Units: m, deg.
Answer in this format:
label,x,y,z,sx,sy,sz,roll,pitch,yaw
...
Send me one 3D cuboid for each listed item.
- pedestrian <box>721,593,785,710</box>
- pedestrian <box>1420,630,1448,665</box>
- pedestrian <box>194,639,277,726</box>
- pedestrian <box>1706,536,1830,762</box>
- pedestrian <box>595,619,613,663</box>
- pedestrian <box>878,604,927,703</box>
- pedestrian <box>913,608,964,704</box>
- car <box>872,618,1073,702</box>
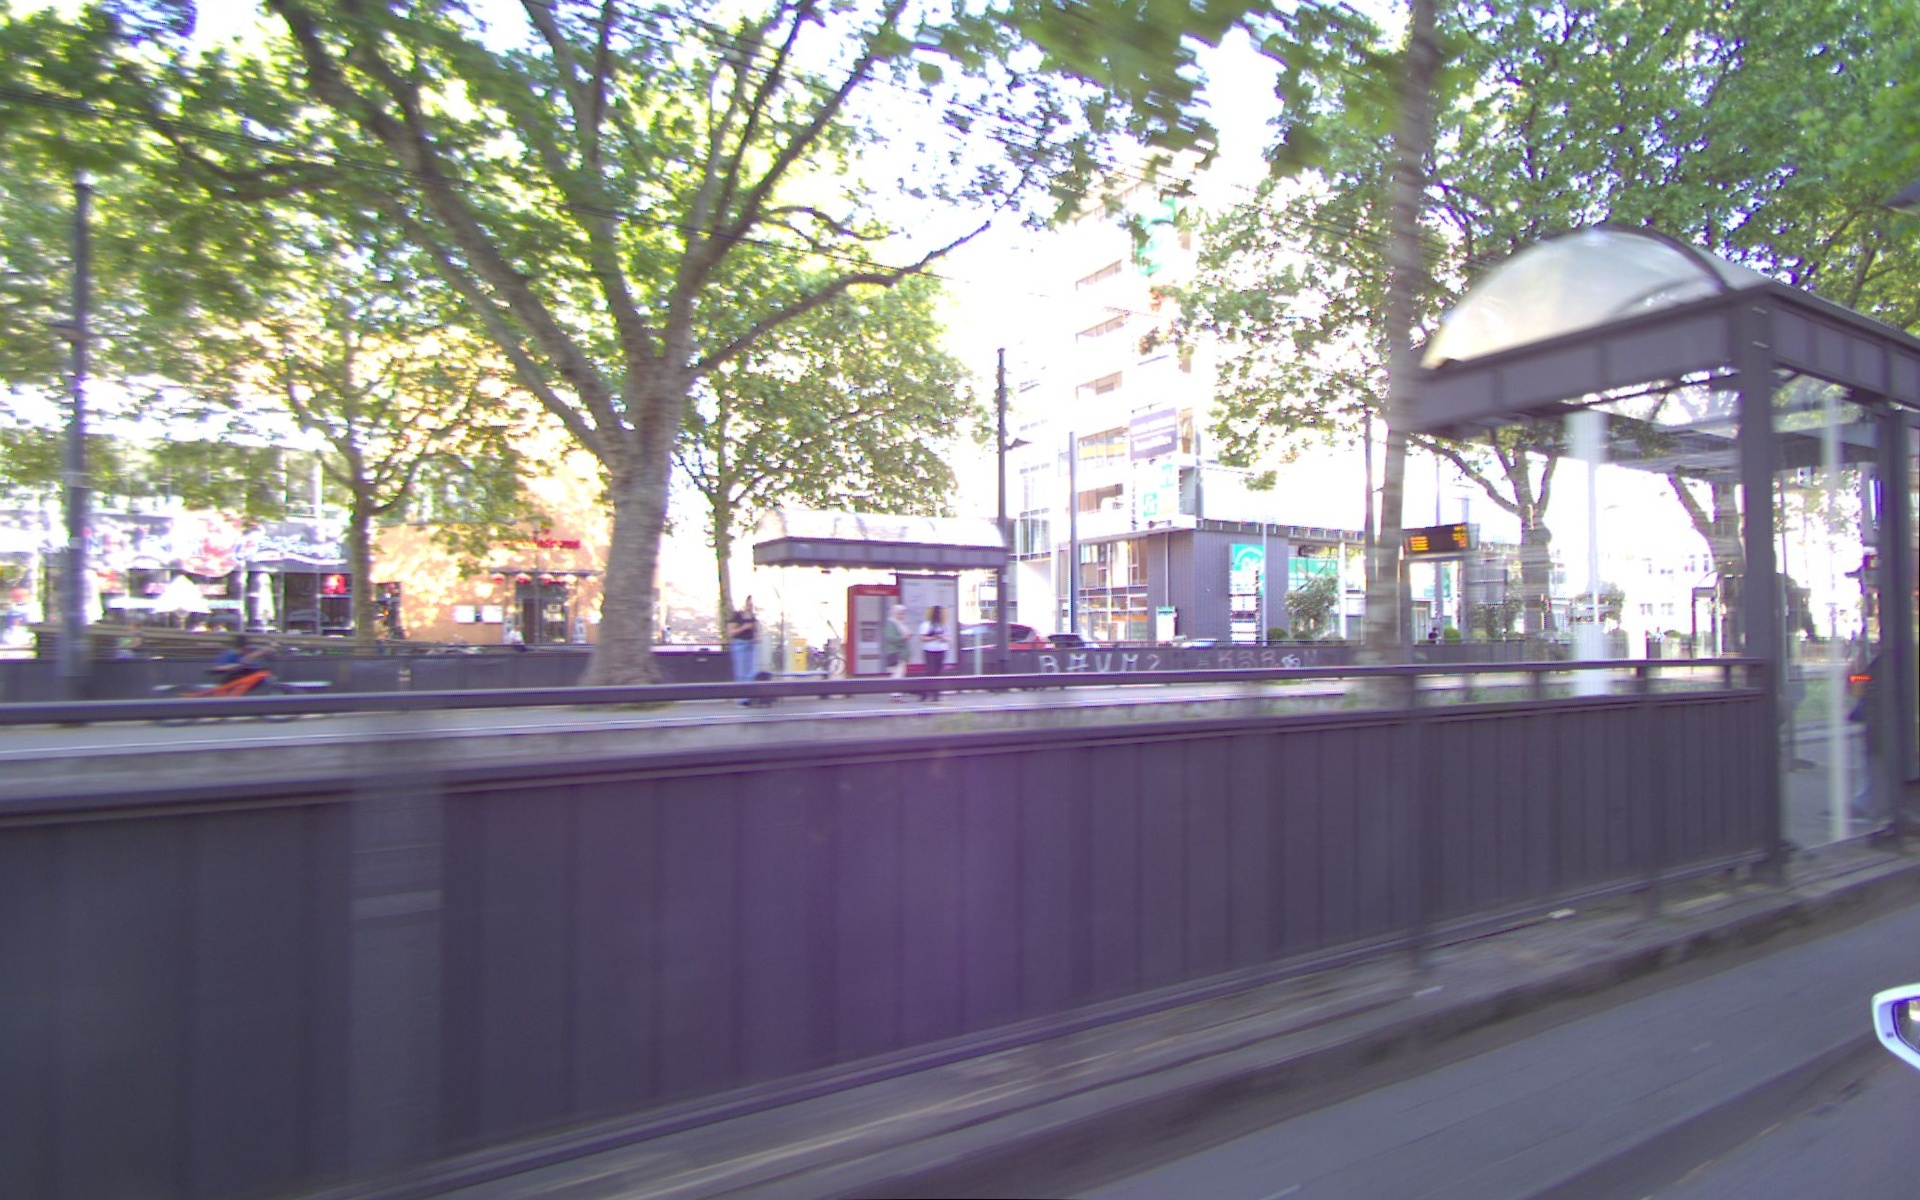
label,x,y,z,sx,sy,sz,roll,pitch,yaw
pedestrian,-3.033,0.743,14.711,0.664,1.663,0.661,2,-2,-42
pedestrian,22.347,2.239,47.385,0.759,1.613,0.901,1,-2,-31
pedestrian,-9.186,1.027,12.759,0.688,1.054,0.720,1,-1,-22
pedestrian,7.012,0.417,8.724,0.631,1.864,0.643,1,-1,-31
pedestrian,-13.503,1.547,38.076,0.572,1.625,0.576,1,-1,-25
pedestrian,-0.903,0.833,15.831,0.547,1.517,0.547,1,-2,-42
pedestrian,-0.349,0.892,16.236,0.603,1.505,0.564,1,-1,-42
car,0.275,1.276,21.944,3.952,1.661,1.985,1,-3,-29
